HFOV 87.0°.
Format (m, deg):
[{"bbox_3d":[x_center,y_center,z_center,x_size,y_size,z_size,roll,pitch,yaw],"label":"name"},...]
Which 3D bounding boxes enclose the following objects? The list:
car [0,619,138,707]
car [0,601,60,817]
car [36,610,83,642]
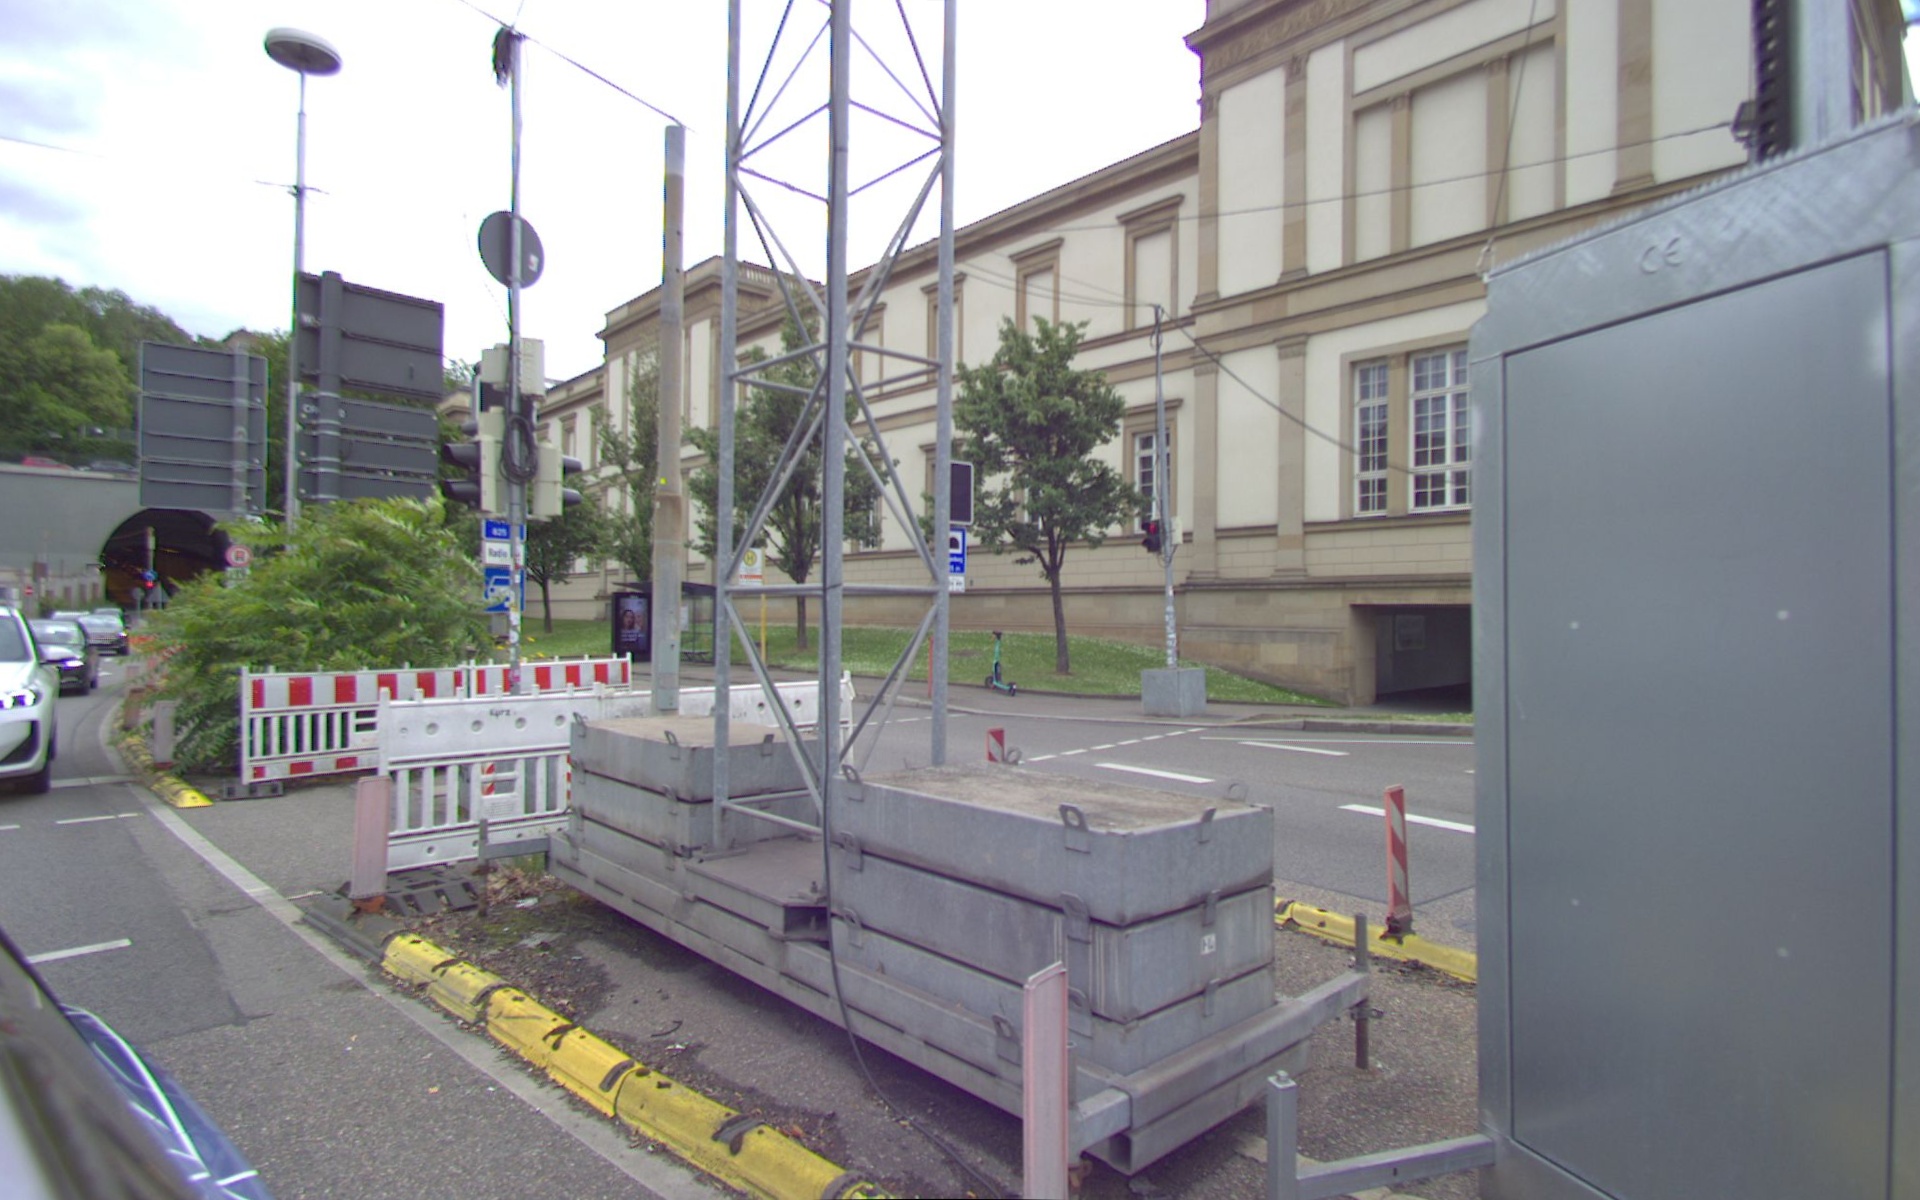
[{"bbox_3d":[-17.796,1.174,20.147,1.969,1.564,4.004,2,-2,-43],"label":"car"},{"bbox_3d":[-8.878,0.835,8.554,1.786,1.617,3.717,2,-3,-43],"label":"car"},{"bbox_3d":[-45.195,1.320,50.831,1.544,1.586,3.296,2,-2,-38],"label":"car"}]
